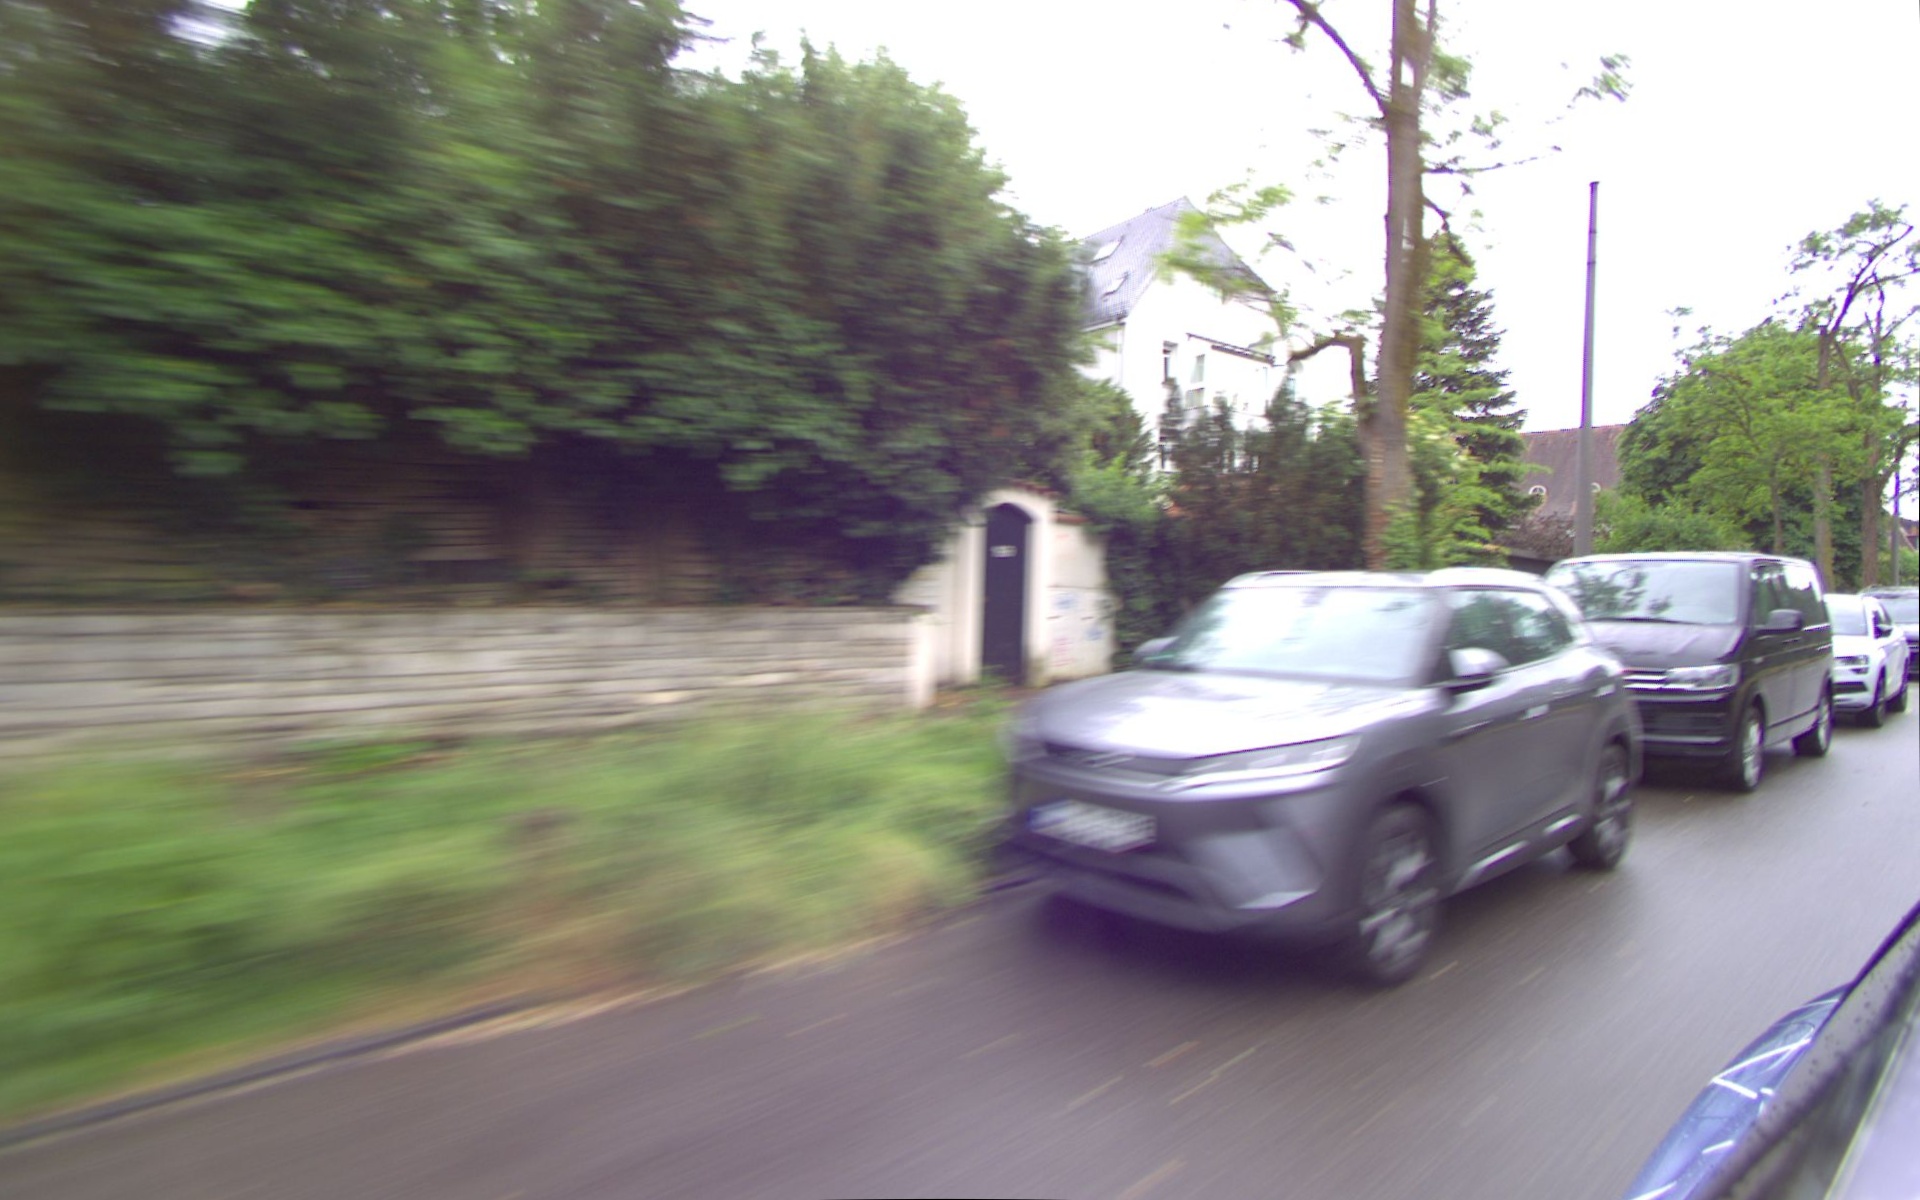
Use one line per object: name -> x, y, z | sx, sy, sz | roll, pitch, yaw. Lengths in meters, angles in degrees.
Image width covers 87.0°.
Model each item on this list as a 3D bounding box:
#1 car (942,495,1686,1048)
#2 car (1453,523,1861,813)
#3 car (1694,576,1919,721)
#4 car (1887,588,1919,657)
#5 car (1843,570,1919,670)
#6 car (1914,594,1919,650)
car -> 2.104, 0.558, 5.270 | 4.250, 1.745, 1.777 | 1, -1, -41
car -> 6.683, 0.500, 9.469 | 4.801, 2.039, 1.997 | 1, -1, -41
car -> 11.448, 0.563, 13.516 | 4.211, 1.633, 1.807 | 1, -1, -42
car -> 23.560, 0.534, 24.152 | 4.004, 1.575, 1.681 | 1, -1, -41
car -> 19.278, 0.391, 20.365 | 4.156, 1.871, 1.733 | 1, -1, -41
car -> 27.697, 0.614, 27.867 | 3.659, 1.483, 1.741 | 1, -1, -41
